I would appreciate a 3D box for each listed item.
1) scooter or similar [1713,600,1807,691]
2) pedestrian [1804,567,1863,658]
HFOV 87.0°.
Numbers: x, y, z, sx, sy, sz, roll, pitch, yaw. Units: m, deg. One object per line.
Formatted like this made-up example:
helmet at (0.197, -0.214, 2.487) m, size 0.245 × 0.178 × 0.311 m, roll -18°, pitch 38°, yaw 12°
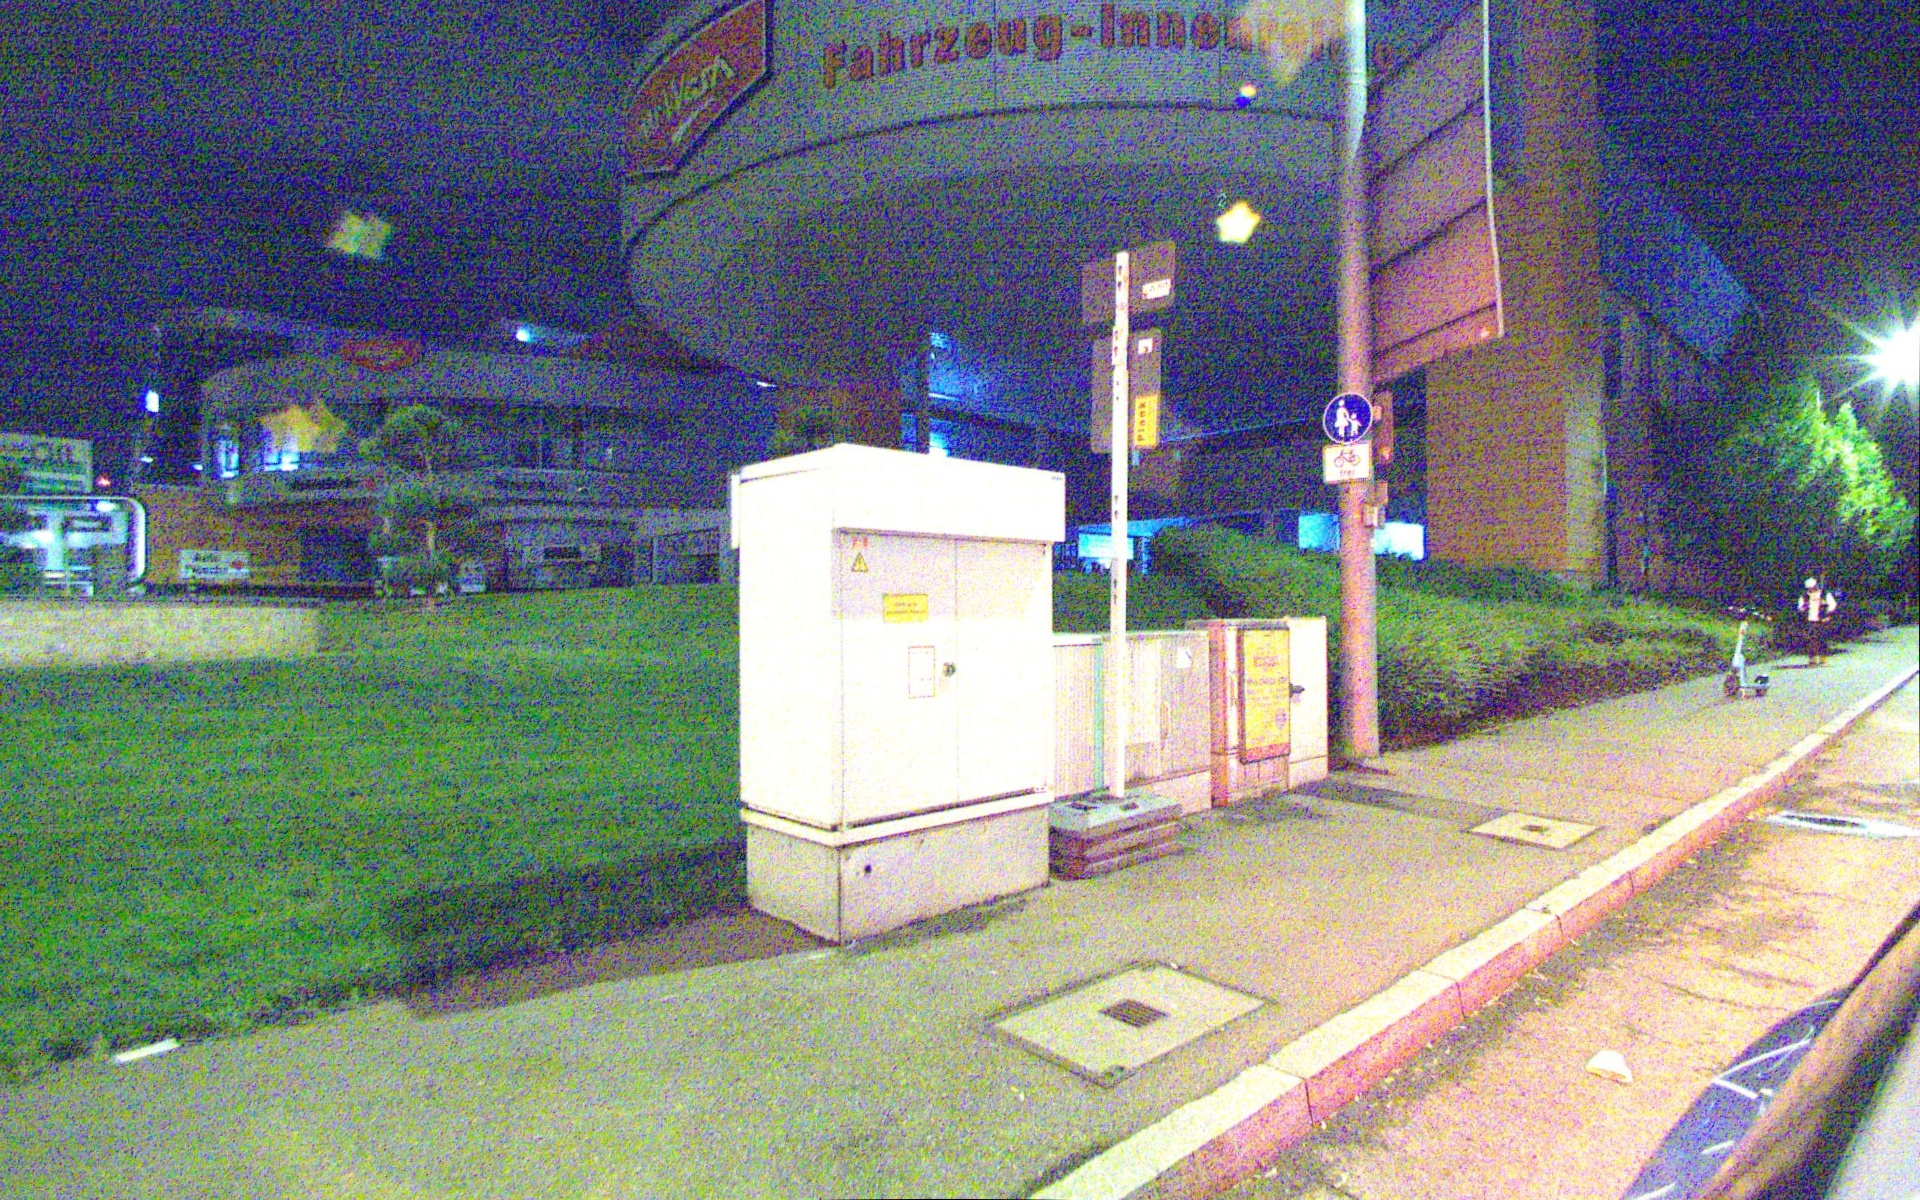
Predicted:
scooter or similar at (11.013, 0.623, 13.938) m, size 1.111 × 1.217 × 0.470 m, roll 1°, pitch -1°, yaw -17°
pedestrian at (18.796, 0.253, 21.779) m, size 1.016 × 1.888 × 0.819 m, roll 0°, pitch 0°, yaw -41°
